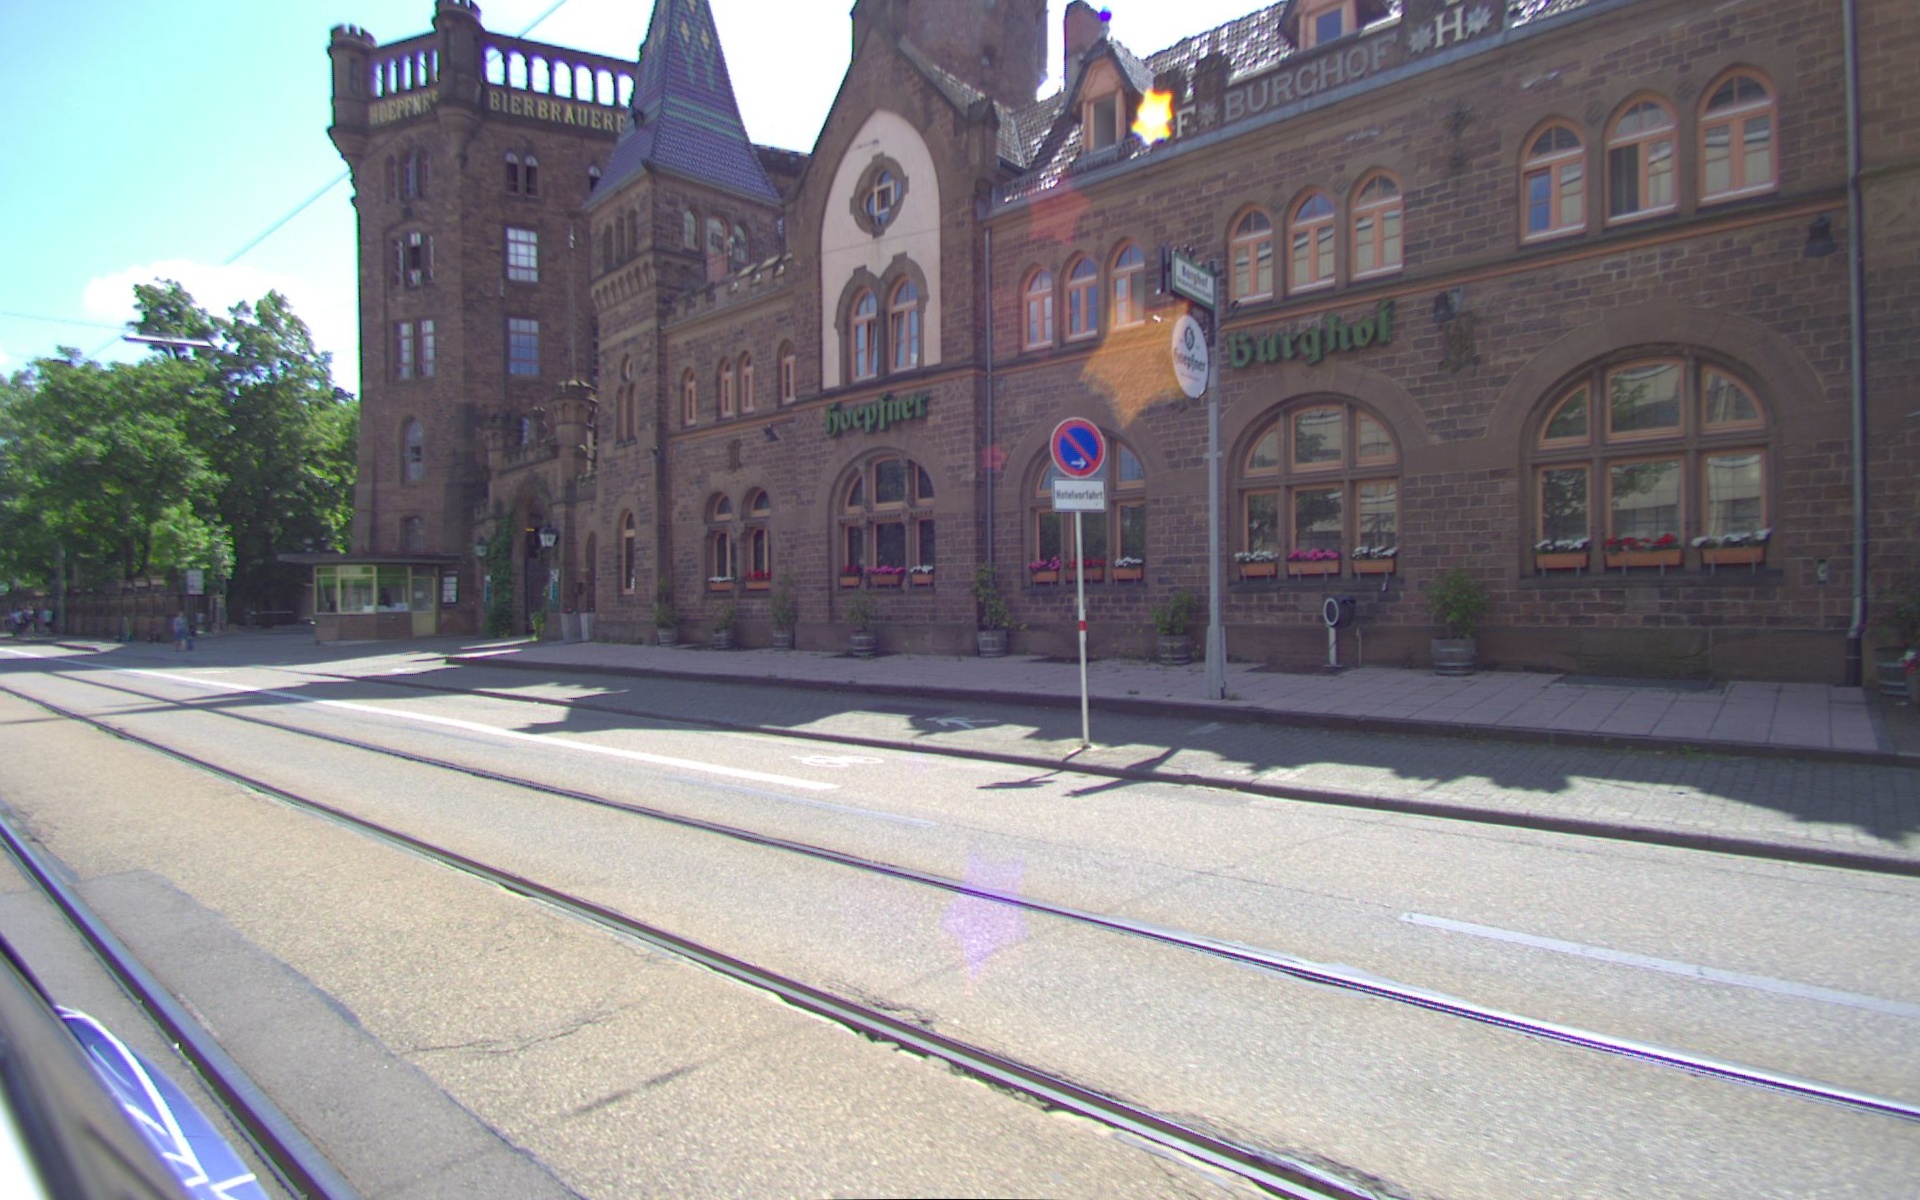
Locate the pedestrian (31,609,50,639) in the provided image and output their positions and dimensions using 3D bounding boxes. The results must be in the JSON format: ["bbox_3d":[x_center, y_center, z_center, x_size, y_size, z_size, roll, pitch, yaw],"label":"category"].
[{"bbox_3d":[-56.618,1.484,62.338,0.919,1.789,0.670,-1,2,41],"label":"pedestrian"}]

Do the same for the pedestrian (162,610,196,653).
[{"bbox_3d":[-30.285,1.213,39.252,0.919,1.600,0.791,-1,2,41],"label":"pedestrian"}]

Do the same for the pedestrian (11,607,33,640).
[{"bbox_3d":[-52.975,1.324,57.178,0.919,1.805,0.714,-1,2,41],"label":"pedestrian"}]

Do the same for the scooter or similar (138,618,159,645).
[{"bbox_3d":[-35.458,1.380,44.221,0.324,1.135,1.227,-2,1,-21],"label":"scooter or similar"}]

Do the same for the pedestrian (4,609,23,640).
[{"bbox_3d":[-57.311,1.469,61.267,0.919,1.803,0.670,-1,2,41],"label":"pedestrian"}]

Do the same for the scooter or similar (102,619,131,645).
[{"bbox_3d":[-38.397,1.452,46.096,0.343,1.135,1.227,-2,2,-6],"label":"scooter or similar"}]

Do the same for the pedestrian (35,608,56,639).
[{"bbox_3d":[-54.907,1.410,60.774,0.919,1.789,0.745,-1,2,41],"label":"pedestrian"}]
